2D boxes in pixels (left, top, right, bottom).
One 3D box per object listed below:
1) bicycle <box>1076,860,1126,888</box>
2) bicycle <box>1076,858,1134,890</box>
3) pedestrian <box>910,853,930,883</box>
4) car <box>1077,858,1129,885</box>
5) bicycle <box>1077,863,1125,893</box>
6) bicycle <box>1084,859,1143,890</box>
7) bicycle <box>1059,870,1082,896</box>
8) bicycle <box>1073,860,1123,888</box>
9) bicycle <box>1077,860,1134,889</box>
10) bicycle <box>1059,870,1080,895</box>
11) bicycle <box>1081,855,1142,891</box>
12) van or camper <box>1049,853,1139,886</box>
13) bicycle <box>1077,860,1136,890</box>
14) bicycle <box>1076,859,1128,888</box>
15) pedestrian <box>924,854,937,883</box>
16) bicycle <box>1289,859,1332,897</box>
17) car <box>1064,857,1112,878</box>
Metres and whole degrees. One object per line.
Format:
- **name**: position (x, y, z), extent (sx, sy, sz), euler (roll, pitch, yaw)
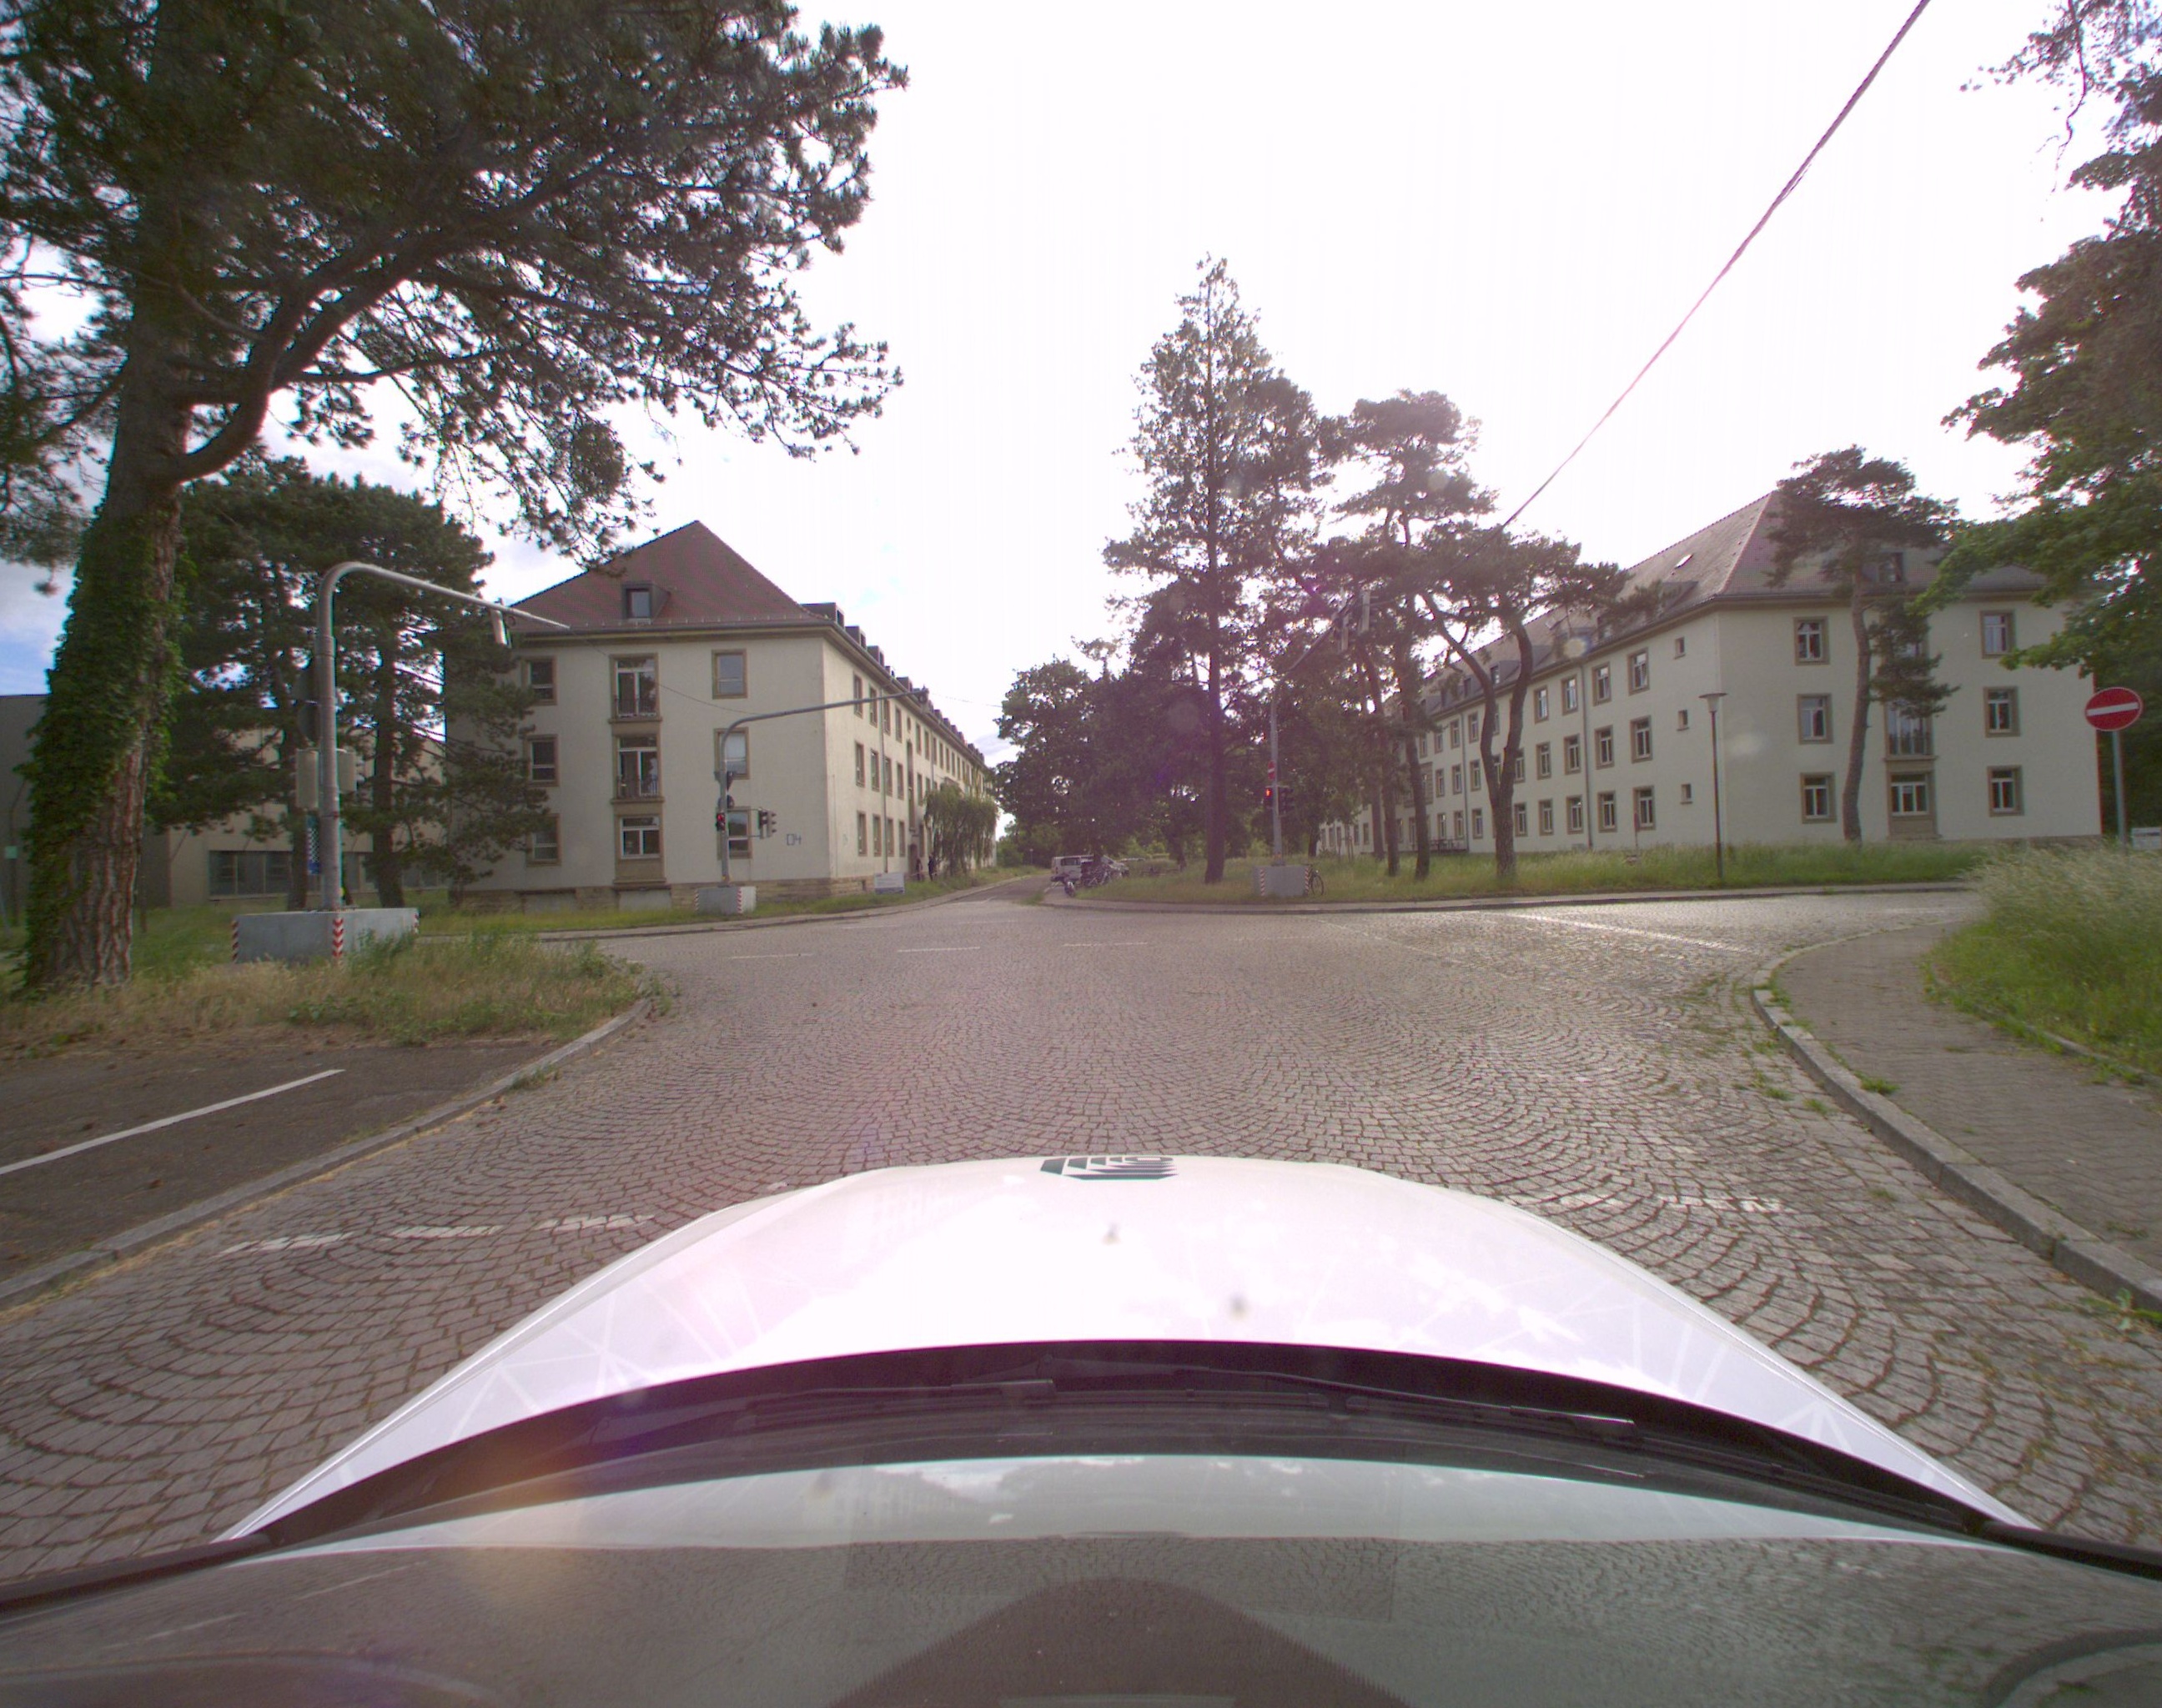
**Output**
- **bicycle**: position (1.048, 1.027, 42.675), extent (2.561, 1.372, 0.950), euler (-2, -1, -2)
- **bicycle**: position (1.076, 0.909, 37.646), extent (2.611, 1.367, 0.874), euler (-2, -1, -1)
- **pedestrian**: position (-10.302, 0.885, 52.056), extent (1.195, 1.870, 1.544), euler (-1, -1, -10)
- **car**: position (1.362, 1.125, 51.637), extent (3.215, 1.621, 1.936), euler (-1, -1, -1)
- **bicycle**: position (0.891, 1.078, 37.030), extent (2.106, 1.306, 0.874), euler (-2, -1, -1)
- **bicycle**: position (1.557, 0.997, 39.449), extent (2.794, 1.372, 0.950), euler (-2, -1, -1)
- **bicycle**: position (-0.419, 1.197, 33.639), extent (0.898, 0.996, 1.978), euler (-2, -1, -1)
- **bicycle**: position (0.887, 1.043, 43.511), extent (2.561, 1.372, 0.950), euler (-2, -1, -2)
- **bicycle**: position (1.205, 1.025, 40.873), extent (2.794, 1.372, 0.950), euler (-2, -1, -1)
- **bicycle**: position (-0.489, 1.232, 35.730), extent (0.724, 0.996, 1.981), euler (-2, -1, 5)
- **bicycle**: position (1.423, 0.889, 38.519), extent (2.794, 1.583, 0.950), euler (-2, -1, -1)
- **van or camper**: position (0.856, 1.011, 55.147), extent (5.747, 1.957, 2.228), euler (-2, -1, -13)
- **bicycle**: position (1.232, 1.010, 39.980), extent (2.794, 1.372, 0.950), euler (-2, -1, -1)
- **bicycle**: position (1.060, 1.014, 41.835), extent (2.561, 1.372, 0.950), euler (-2, -1, -2)
- **pedestrian**: position (-9.815, 0.941, 53.113), extent (0.865, 1.932, 0.834), euler (0, -1, -12)
- **bicycle**: position (7.016, 0.729, 24.992), extent (0.643, 1.062, 1.832), euler (-6, 0, -3)
- **car**: position (0.577, 1.173, 68.969), extent (3.977, 1.600, 1.702), euler (-2, -1, -3)
